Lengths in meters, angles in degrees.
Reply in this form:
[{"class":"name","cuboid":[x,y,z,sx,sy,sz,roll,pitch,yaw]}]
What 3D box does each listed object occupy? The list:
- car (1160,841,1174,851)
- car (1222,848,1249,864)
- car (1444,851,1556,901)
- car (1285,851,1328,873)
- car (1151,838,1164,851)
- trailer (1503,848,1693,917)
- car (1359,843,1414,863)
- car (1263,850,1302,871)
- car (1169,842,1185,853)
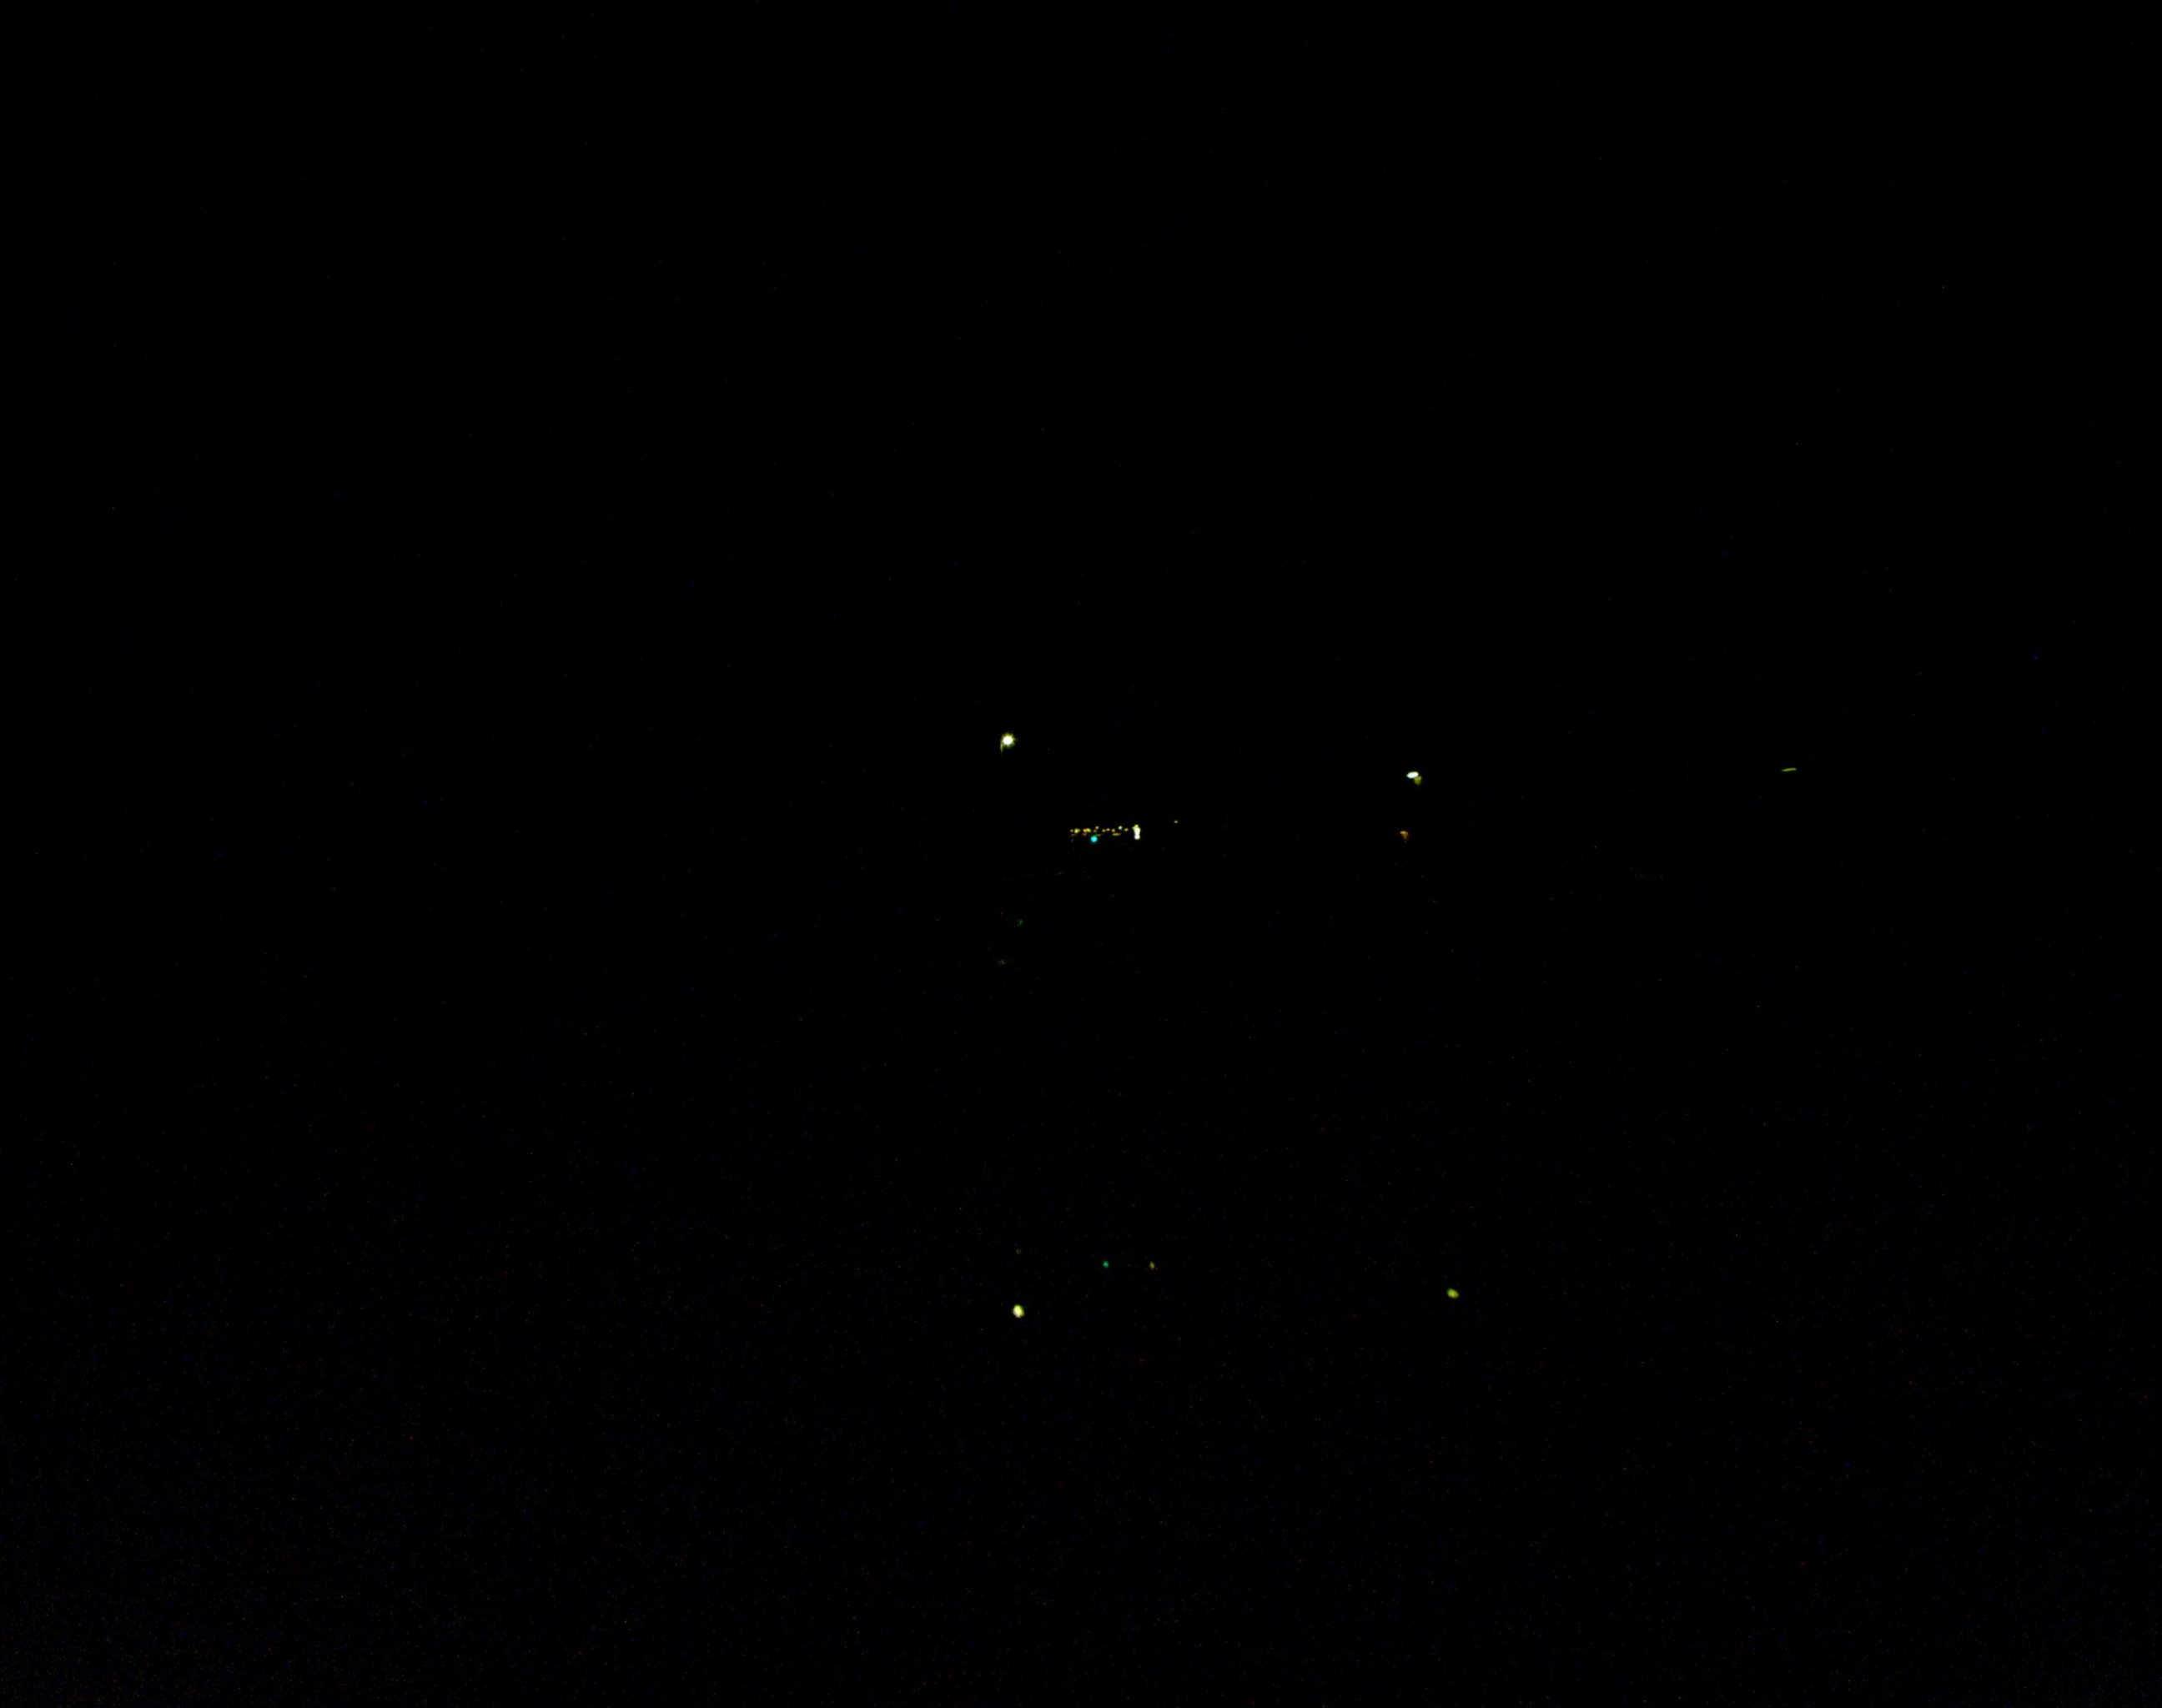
[{"class":"car","cuboid":[15.899,-1.462,140.865,2.124,1.761,4.720,2,2,2]},{"class":"car","cuboid":[16.068,0.168,79.297,1.768,1.559,4.692,4,1,0]},{"class":"car","cuboid":[15.626,0.740,28.625,1.721,1.568,4.534,3,1,2]},{"class":"car","cuboid":[15.880,0.554,53.635,1.733,1.357,4.144,2,2,0]},{"class":"car","cuboid":[15.494,-1.965,154.385,2.164,2.498,4.720,2,2,2]},{"class":"trailer","cuboid":[15.592,0.746,23.458,2.029,1.770,5.673,2,1,1]},{"class":"car","cuboid":[26.510,-0.110,66.032,3.998,1.534,1.889,-2,2,-2]},{"class":"car","cuboid":[15.850,0.477,59.913,1.905,1.357,4.983,2,2,2]},{"class":"car","cuboid":[16.085,-1.070,127.634,2.124,1.761,4.720,2,2,2]}]
